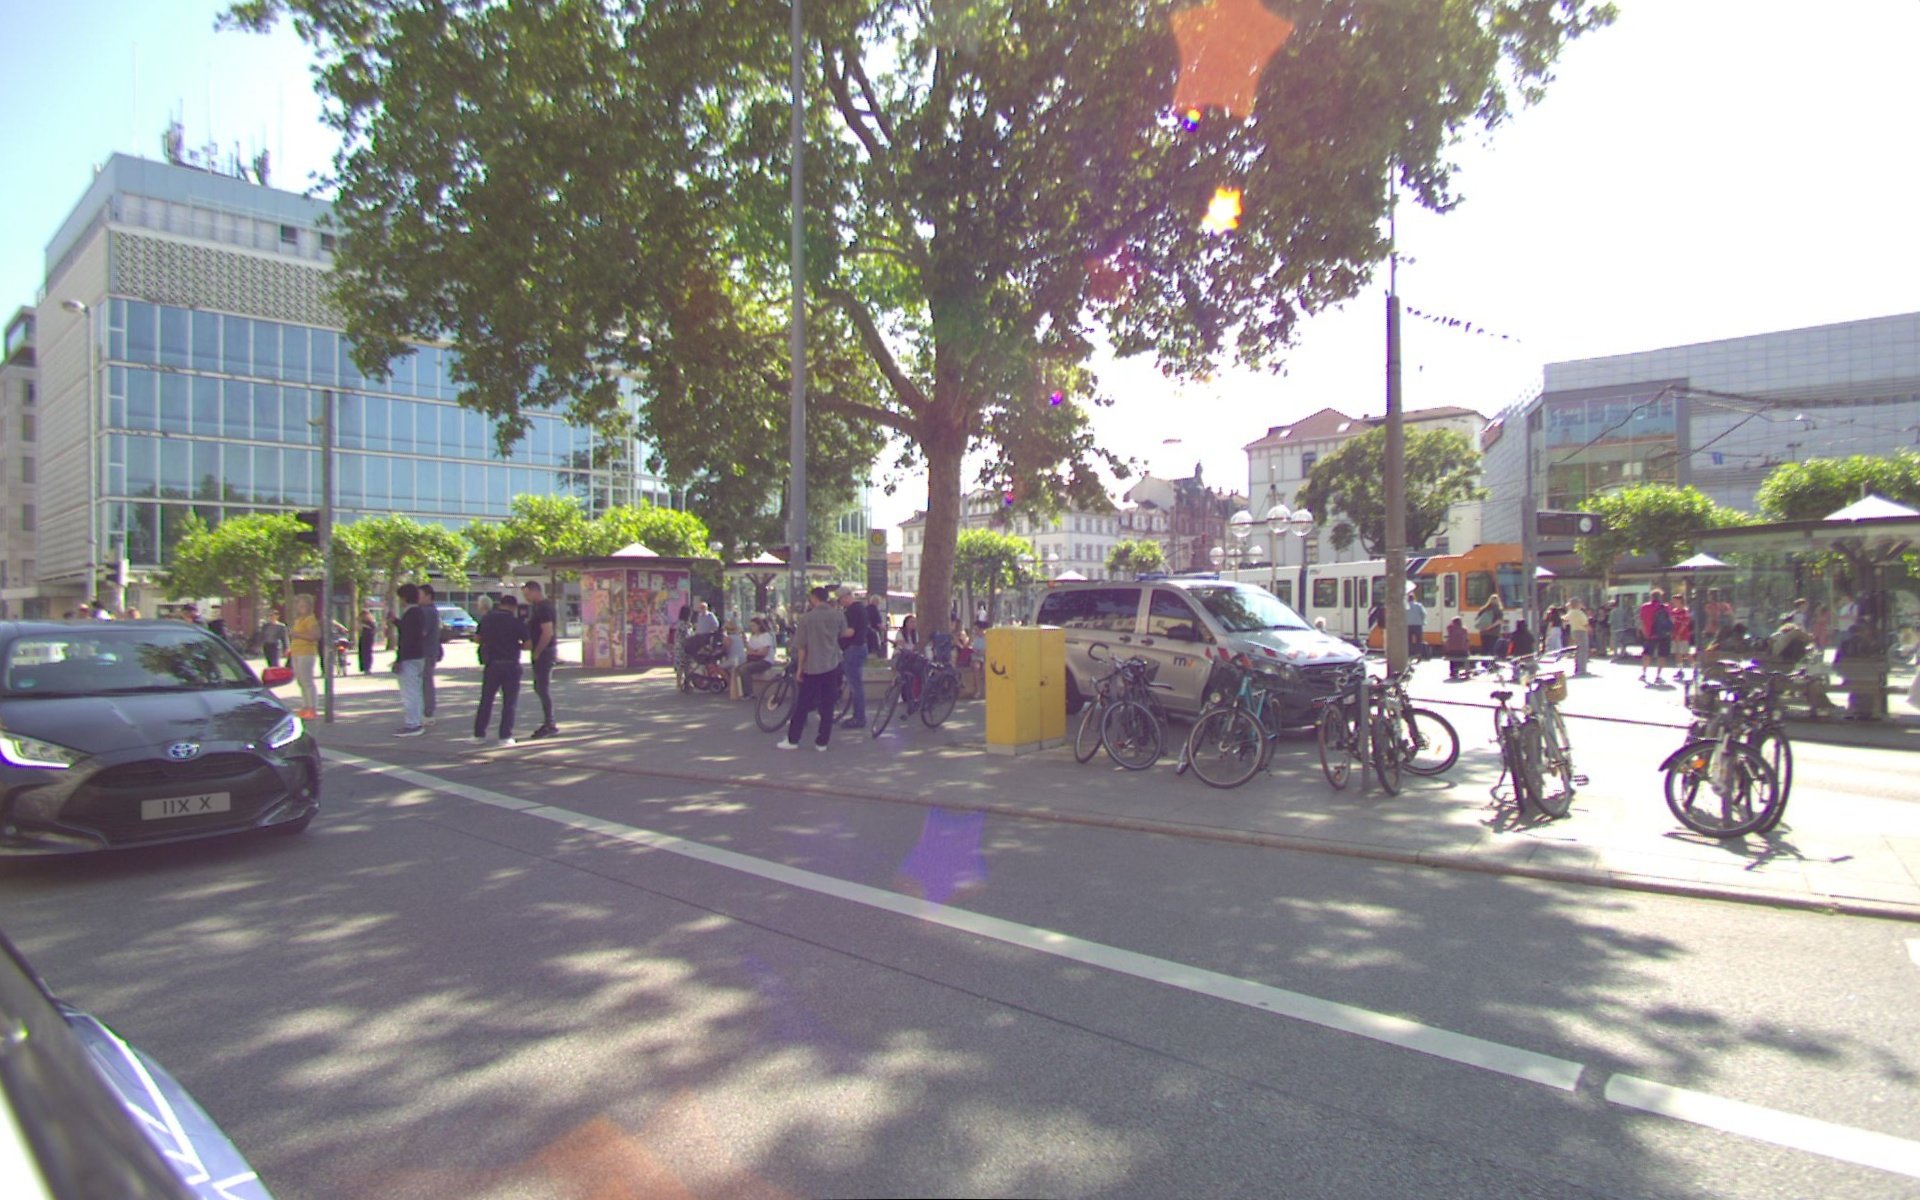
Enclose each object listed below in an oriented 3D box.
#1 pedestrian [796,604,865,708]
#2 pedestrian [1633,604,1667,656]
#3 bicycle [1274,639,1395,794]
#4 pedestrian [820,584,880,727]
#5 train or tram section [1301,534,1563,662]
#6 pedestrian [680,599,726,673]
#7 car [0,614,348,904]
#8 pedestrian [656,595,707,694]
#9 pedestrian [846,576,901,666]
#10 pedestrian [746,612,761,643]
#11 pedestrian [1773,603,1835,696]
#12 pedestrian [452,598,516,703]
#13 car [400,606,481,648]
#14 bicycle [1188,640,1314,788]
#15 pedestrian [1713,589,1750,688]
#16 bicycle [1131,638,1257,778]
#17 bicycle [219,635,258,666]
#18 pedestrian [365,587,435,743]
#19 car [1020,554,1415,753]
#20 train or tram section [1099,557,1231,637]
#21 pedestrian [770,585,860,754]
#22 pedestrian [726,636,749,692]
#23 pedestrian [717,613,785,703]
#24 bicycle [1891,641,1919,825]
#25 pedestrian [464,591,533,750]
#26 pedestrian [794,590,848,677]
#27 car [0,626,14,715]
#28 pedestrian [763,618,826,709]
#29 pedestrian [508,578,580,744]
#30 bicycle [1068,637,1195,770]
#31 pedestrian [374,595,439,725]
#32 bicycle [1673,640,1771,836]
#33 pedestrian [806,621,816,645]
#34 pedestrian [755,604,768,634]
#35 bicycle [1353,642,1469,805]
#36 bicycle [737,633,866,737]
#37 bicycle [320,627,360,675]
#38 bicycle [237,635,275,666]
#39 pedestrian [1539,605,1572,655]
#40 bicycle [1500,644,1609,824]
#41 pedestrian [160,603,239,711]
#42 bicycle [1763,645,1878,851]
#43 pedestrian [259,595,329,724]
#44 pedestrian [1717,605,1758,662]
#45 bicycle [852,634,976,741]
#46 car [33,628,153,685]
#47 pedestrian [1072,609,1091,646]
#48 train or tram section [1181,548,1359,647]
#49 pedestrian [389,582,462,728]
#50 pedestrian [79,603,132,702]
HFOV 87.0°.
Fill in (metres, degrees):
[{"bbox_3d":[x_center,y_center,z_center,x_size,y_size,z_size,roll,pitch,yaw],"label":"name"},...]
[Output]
[{"bbox_3d":[-2.102,0.893,16.473,0.779,1.608,0.744,-1,1,30],"label":"pedestrian"},{"bbox_3d":[21.153,0.918,31.035,0.674,1.561,0.575,-1,-3,16],"label":"pedestrian"},{"bbox_3d":[3.284,0.946,8.781,0.482,1.156,1.736,-1,-1,37],"label":"bicycle"},{"bbox_3d":[-1.391,0.690,12.817,0.516,1.755,0.511,-1,1,26],"label":"pedestrian"},{"bbox_3d":[16.124,-0.103,35.734,2.577,3.856,9.548,-2,1,-17],"label":"train or tram section"},{"bbox_3d":[-6.316,0.865,24.863,0.782,1.760,0.742,-1,1,38],"label":"pedestrian"},{"bbox_3d":[-5.995,0.859,7.033,3.996,1.486,1.759,-1,-2,40],"label":"car"},{"bbox_3d":[-5.145,0.805,18.683,0.739,1.760,0.785,-2,1,-24],"label":"pedestrian"},{"bbox_3d":[-1.749,0.414,20.481,0.779,1.760,0.744,-1,1,30],"label":"pedestrian"},{"bbox_3d":[-9.645,1.288,47.278,0.436,1.394,0.458,-1,1,38],"label":"pedestrian"},{"bbox_3d":[13.669,0.806,16.399,0.580,1.477,0.557,2,-4,-30],"label":"pedestrian"},{"bbox_3d":[-8.303,0.855,17.656,0.666,1.760,0.742,-1,1,38],"label":"pedestrian"},{"bbox_3d":[-27.037,1.385,52.619,3.988,2.029,1.978,-1,1,33],"label":"car"},{"bbox_3d":[2.663,0.966,9.149,0.482,1.156,1.736,-1,-1,37],"label":"bicycle"},{"bbox_3d":[14.272,0.720,18.714,0.485,1.791,0.519,-2,-4,39],"label":"pedestrian"},{"bbox_3d":[2.259,0.967,9.633,0.482,1.156,1.736,-1,-1,37],"label":"bicycle"},{"bbox_3d":[-27.687,1.929,38.826,1.753,1.156,0.586,-1,-1,32],"label":"bicycle"},{"bbox_3d":[-6.718,0.749,12.163,0.529,1.796,0.745,-2,1,-16],"label":"pedestrian"},{"bbox_3d":[3.004,0.541,13.142,1.966,2.029,5.083,-2,1,-29],"label":"car"},{"bbox_3d":[10.644,-0.181,54.005,2.577,3.856,9.548,-2,1,-17],"label":"train or tram section"},{"bbox_3d":[-1.518,0.703,10.642,0.639,1.704,0.638,-1,1,26],"label":"pedestrian"},{"bbox_3d":[-4.016,1.156,18.253,0.334,0.974,0.282,-2,1,-20],"label":"pedestrian"},{"bbox_3d":[-3.483,0.952,16.879,0.779,1.418,0.744,-1,1,30],"label":"pedestrian"},{"bbox_3d":[6.783,0.871,6.635,0.831,1.030,2.592,-1,1,39],"label":"bicycle"},{"bbox_3d":[-5.079,0.744,11.147,0.620,1.661,0.754,-2,1,-24],"label":"pedestrian"},{"bbox_3d":[-2.889,0.689,21.040,0.779,1.760,0.744,-1,1,30],"label":"pedestrian"},{"bbox_3d":[-17.358,1.164,17.036,3.998,1.415,1.677,-1,0,41],"label":"car"},{"bbox_3d":[-2.746,1.044,16.801,0.671,1.435,0.745,-1,1,30],"label":"pedestrian"},{"bbox_3d":[-4.833,0.679,11.752,0.510,1.849,0.716,-2,1,-43],"label":"pedestrian"},{"bbox_3d":[1.746,0.979,10.083,0.482,1.156,1.736,-1,-1,37],"label":"bicycle"},{"bbox_3d":[-7.617,0.804,13.922,0.606,1.728,0.597,-1,-2,38],"label":"pedestrian"},{"bbox_3d":[5.398,0.896,7.168,0.482,1.156,1.736,-1,-1,37],"label":"bicycle"},{"bbox_3d":[-9.589,2.142,65.045,0.546,1.483,0.760,-2,1,-14],"label":"pedestrian"},{"bbox_3d":[-10.099,0.974,51.401,0.410,1.483,0.459,-1,1,38],"label":"pedestrian"},{"bbox_3d":[3.787,0.957,8.427,0.482,1.156,1.736,-1,-1,37],"label":"bicycle"},{"bbox_3d":[-1.953,1.024,12.703,0.482,1.156,1.736,-1,-1,37],"label":"bicycle"},{"bbox_3d":[-15.780,1.274,25.740,0.718,1.152,1.917,0,-1,-37],"label":"bicycle"},{"bbox_3d":[-27.369,1.953,39.322,1.753,1.156,0.586,-1,-1,32],"label":"bicycle"},{"bbox_3d":[18.962,0.974,32.235,0.568,1.561,0.683,2,-4,-24],"label":"pedestrian"},{"bbox_3d":[4.605,0.953,7.789,0.482,1.156,1.843,-1,-1,37],"label":"bicycle"},{"bbox_3d":[-12.910,0.944,17.188,0.732,1.760,0.866,-1,1,38],"label":"pedestrian"},{"bbox_3d":[5.779,0.916,6.856,0.482,1.156,1.736,-1,-1,37],"label":"bicycle"},{"bbox_3d":[-9.442,0.820,14.345,0.752,1.760,0.605,-1,0,38],"label":"pedestrian"},{"bbox_3d":[21.702,0.939,28.256,0.674,1.561,0.575,-1,-3,16],"label":"pedestrian"},{"bbox_3d":[-0.524,1.010,12.225,0.482,1.156,1.736,-1,-1,37],"label":"bicycle"},{"bbox_3d":[-35.533,2.274,41.624,1.968,2.029,4.009,-2,1,-10],"label":"car"},{"bbox_3d":[5.029,1.134,41.976,0.547,1.483,0.532,-2,1,-43],"label":"pedestrian"},{"bbox_3d":[13.398,-0.143,44.915,2.577,3.856,9.548,-2,1,-17],"label":"train or tram section"},{"bbox_3d":[-7.066,0.712,13.369,0.737,1.860,0.587,-1,-2,38],"label":"pedestrian"},{"bbox_3d":[-17.225,1.037,20.395,0.732,1.928,0.631,-1,1,38],"label":"pedestrian"}]
